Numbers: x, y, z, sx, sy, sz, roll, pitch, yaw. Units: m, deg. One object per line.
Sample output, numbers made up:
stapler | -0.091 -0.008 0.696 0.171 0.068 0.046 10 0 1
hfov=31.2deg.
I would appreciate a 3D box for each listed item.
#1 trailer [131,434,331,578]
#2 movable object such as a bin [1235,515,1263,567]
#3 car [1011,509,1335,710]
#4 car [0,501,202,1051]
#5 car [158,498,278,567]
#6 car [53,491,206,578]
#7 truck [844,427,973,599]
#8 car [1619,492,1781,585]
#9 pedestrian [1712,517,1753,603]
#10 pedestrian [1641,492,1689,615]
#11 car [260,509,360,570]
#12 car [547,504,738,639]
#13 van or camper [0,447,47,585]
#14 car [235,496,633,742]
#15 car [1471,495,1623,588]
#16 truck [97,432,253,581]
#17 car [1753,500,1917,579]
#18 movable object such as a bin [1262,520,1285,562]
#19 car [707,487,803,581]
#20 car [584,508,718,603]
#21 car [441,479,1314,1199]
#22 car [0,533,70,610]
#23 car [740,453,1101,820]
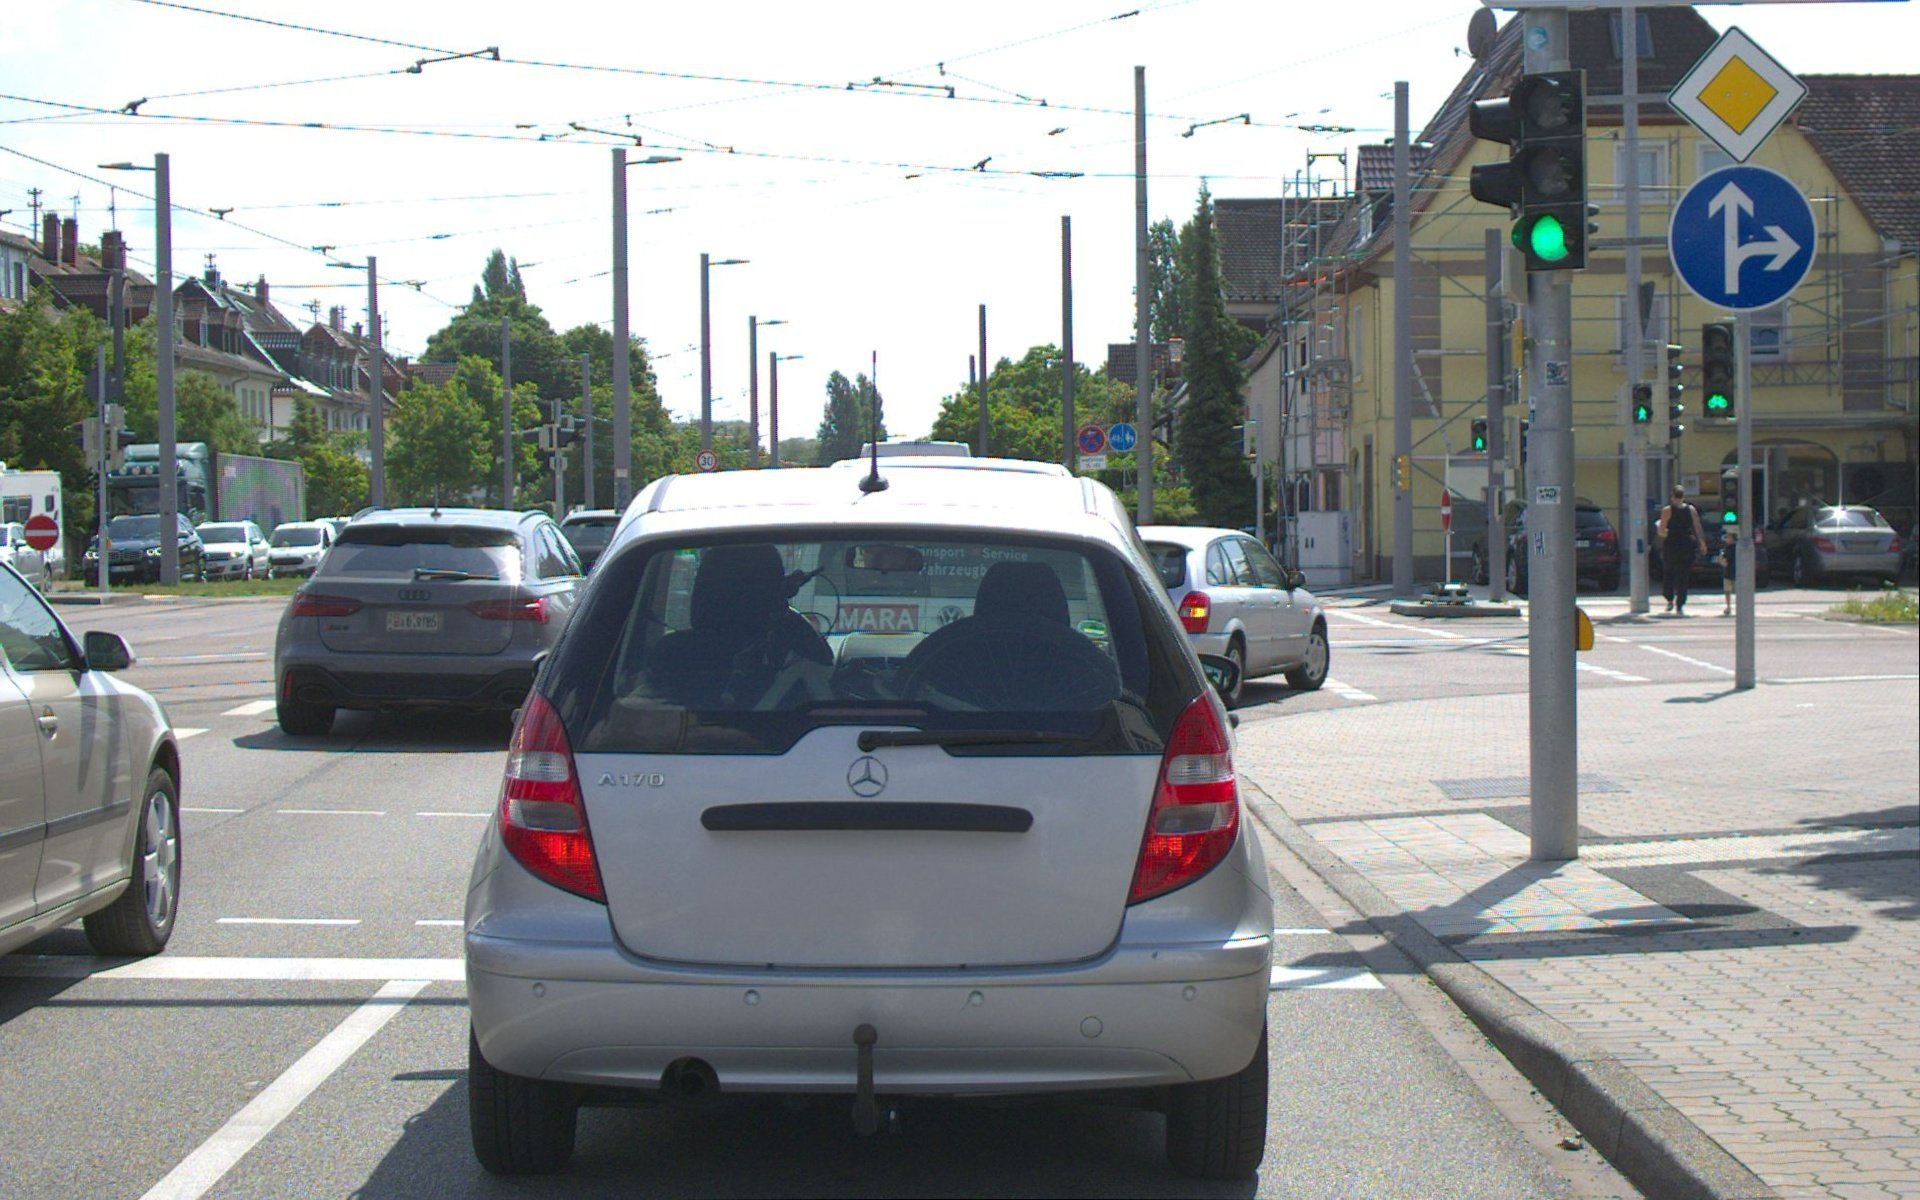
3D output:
trailer | -21.139 -2.810 100.558 2.599 3.808 12.837 -3 2 2
movable object such as a bin | 6.111 -1.245 72.769 0.511 1.101 0.855 0 1 0
car | 1.818 0.015 28.115 1.731 1.398 4.014 1 3 17
car | -3.398 0.447 9.452 1.731 1.444 4.123 1 2 0
car | -18.436 -1.668 85.614 1.993 1.547 4.178 -4 1 0
car | -18.251 -1.467 75.777 1.993 1.770 4.878 -2 2 2
truck | -0.867 -1.341 54.401 1.852 2.543 5.856 1 1 -2
car | 13.364 -1.111 62.298 1.993 1.590 4.131 1 1 0
pedestrian | 10.345 -0.538 46.045 0.488 1.132 0.389 1 1 7
pedestrian | 9.460 -0.623 46.144 0.547 1.638 0.401 1 1 4
car | -18.089 -1.687 95.872 1.794 1.631 4.471 -1 1 1
car | -3.463 -0.335 38.178 1.852 1.383 4.515 1 1 -2
van or camper | -21.526 -1.759 72.769 2.324 2.919 7.755 -1 1 0
car | -3.431 0.073 23.273 1.916 1.472 4.562 1 1 1
car | 10.546 -1.052 62.040 1.993 1.590 4.131 1 1 0
truck | -21.333 -2.585 93.718 2.599 3.808 5.667 -3 2 2
car | 15.819 -1.093 62.368 1.867 1.347 4.131 1 1 0
movable object such as a bin | 7.158 -1.356 78.542 0.468 0.943 0.558 -1 1 -1
car | -4.158 -1.342 70.273 1.852 1.837 3.919 1 1 -2
car | -4.743 -0.690 53.142 1.852 1.383 3.919 1 1 -2
car | -0.263 0.496 8.918 1.730 1.511 4.017 1 1 -3
car | -17.874 -0.553 63.111 1.993 1.347 4.178 1 1 0
car | -0.291 0.150 18.721 1.730 1.756 4.017 1 1 -3
